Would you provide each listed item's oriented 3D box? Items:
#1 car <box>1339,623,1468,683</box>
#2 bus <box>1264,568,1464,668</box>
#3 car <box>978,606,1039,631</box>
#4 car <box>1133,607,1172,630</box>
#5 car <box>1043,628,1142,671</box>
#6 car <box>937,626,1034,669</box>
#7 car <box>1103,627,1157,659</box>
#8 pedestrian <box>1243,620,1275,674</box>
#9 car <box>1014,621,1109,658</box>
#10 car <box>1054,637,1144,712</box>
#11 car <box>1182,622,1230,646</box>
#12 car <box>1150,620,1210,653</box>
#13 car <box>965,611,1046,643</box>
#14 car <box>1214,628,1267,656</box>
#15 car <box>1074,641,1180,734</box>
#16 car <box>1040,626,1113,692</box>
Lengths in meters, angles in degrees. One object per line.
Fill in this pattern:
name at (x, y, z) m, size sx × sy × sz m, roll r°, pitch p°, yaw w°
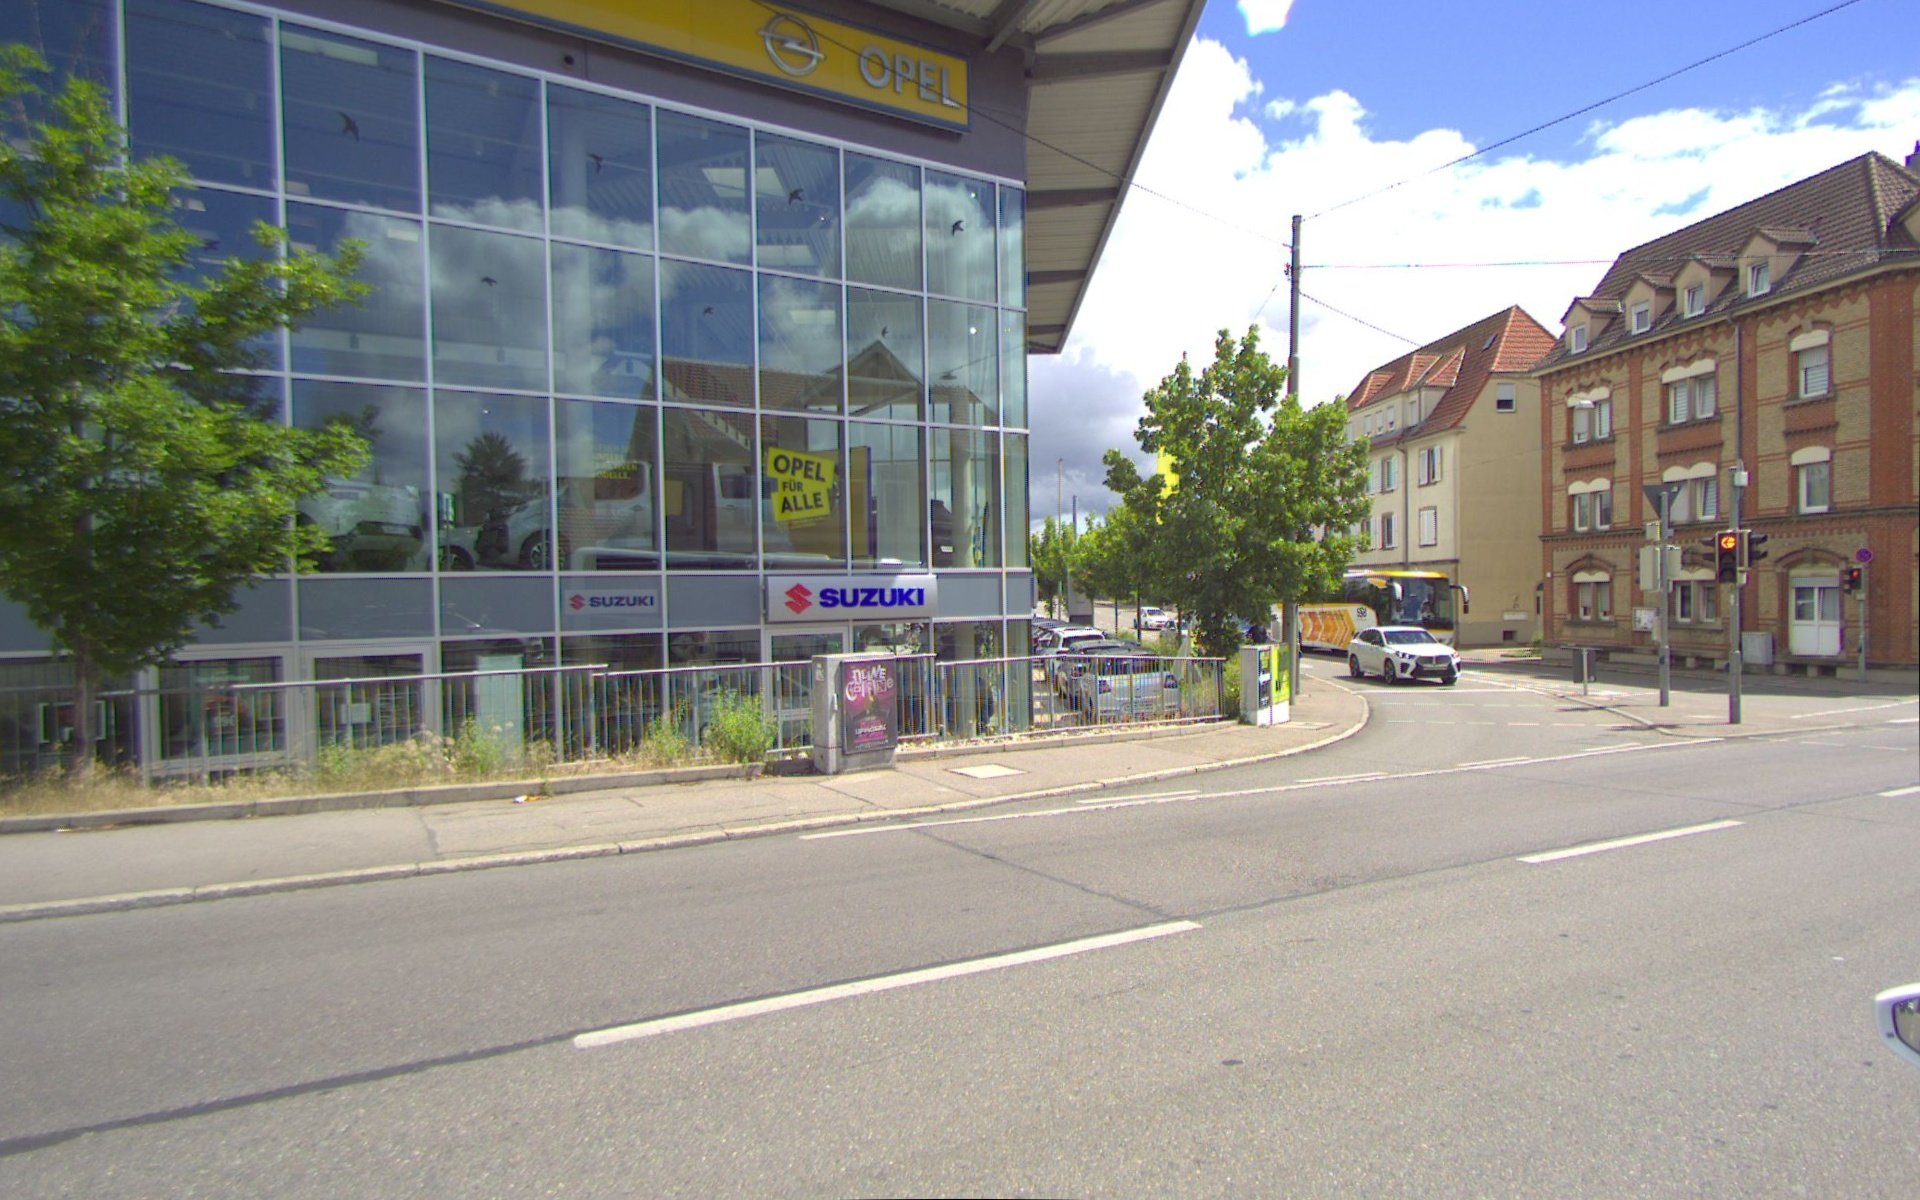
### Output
car at (12.884, 1.544, 29.469) m, size 1.797 × 1.572 × 4.307 m, roll -2°, pitch -3°, yaw 0°
bus at (16.827, 0.579, 43.325) m, size 2.719 × 3.670 × 12.253 m, roll 1°, pitch 1°, yaw -5°
car at (3.230, 1.238, 67.598) m, size 3.922 × 1.574 × 1.807 m, roll 1°, pitch -1°, yaw -1°
car at (13.643, 1.328, 71.500) m, size 1.874 × 1.574 × 3.999 m, roll 1°, pitch -1°, yaw -2°
car at (4.894, 1.816, 37.435) m, size 3.430 × 1.497 × 1.800 m, roll 1°, pitch -1°, yaw 1°
car at (0.916, 1.736, 37.014) m, size 3.432 × 1.467 × 1.799 m, roll -1°, pitch 0°, yaw -3°
car at (8.184, 2.066, 48.647) m, size 1.766 × 1.467 × 3.498 m, roll 1°, pitch -1°, yaw -5°
pedestrian at (10.028, 1.566, 33.682) m, size 0.744 × 1.757 × 1.145 m, roll 1°, pitch -1°, yaw 2°
car at (4.546, 1.759, 45.188) m, size 3.925 × 1.574 × 1.806 m, roll 1°, pitch -1°, yaw -7°
car at (3.317, 1.759, 24.509) m, size 1.584 × 1.547 × 3.499 m, roll -1°, pitch 0°, yaw -2°
car at (15.459, 2.131, 63.289) m, size 1.874 × 1.428 × 3.999 m, roll 1°, pitch -1°, yaw -2°
car at (11.270, 1.861, 51.613) m, size 1.823 × 1.617 × 3.996 m, roll 1°, pitch -1°, yaw -6°
car at (2.361, 1.409, 52.794) m, size 3.930 × 1.574 × 1.804 m, roll 1°, pitch -1°, yaw -12°
car at (15.639, 2.324, 56.195) m, size 1.717 × 1.428 × 3.999 m, roll 1°, pitch -1°, yaw -3°
car at (3.301, 1.701, 20.407) m, size 1.648 × 1.582 × 3.365 m, roll -1°, pitch 0°, yaw 1°
car at (3.309, 1.652, 29.066) m, size 1.620 × 1.703 × 3.499 m, roll -1°, pitch 0°, yaw -2°
